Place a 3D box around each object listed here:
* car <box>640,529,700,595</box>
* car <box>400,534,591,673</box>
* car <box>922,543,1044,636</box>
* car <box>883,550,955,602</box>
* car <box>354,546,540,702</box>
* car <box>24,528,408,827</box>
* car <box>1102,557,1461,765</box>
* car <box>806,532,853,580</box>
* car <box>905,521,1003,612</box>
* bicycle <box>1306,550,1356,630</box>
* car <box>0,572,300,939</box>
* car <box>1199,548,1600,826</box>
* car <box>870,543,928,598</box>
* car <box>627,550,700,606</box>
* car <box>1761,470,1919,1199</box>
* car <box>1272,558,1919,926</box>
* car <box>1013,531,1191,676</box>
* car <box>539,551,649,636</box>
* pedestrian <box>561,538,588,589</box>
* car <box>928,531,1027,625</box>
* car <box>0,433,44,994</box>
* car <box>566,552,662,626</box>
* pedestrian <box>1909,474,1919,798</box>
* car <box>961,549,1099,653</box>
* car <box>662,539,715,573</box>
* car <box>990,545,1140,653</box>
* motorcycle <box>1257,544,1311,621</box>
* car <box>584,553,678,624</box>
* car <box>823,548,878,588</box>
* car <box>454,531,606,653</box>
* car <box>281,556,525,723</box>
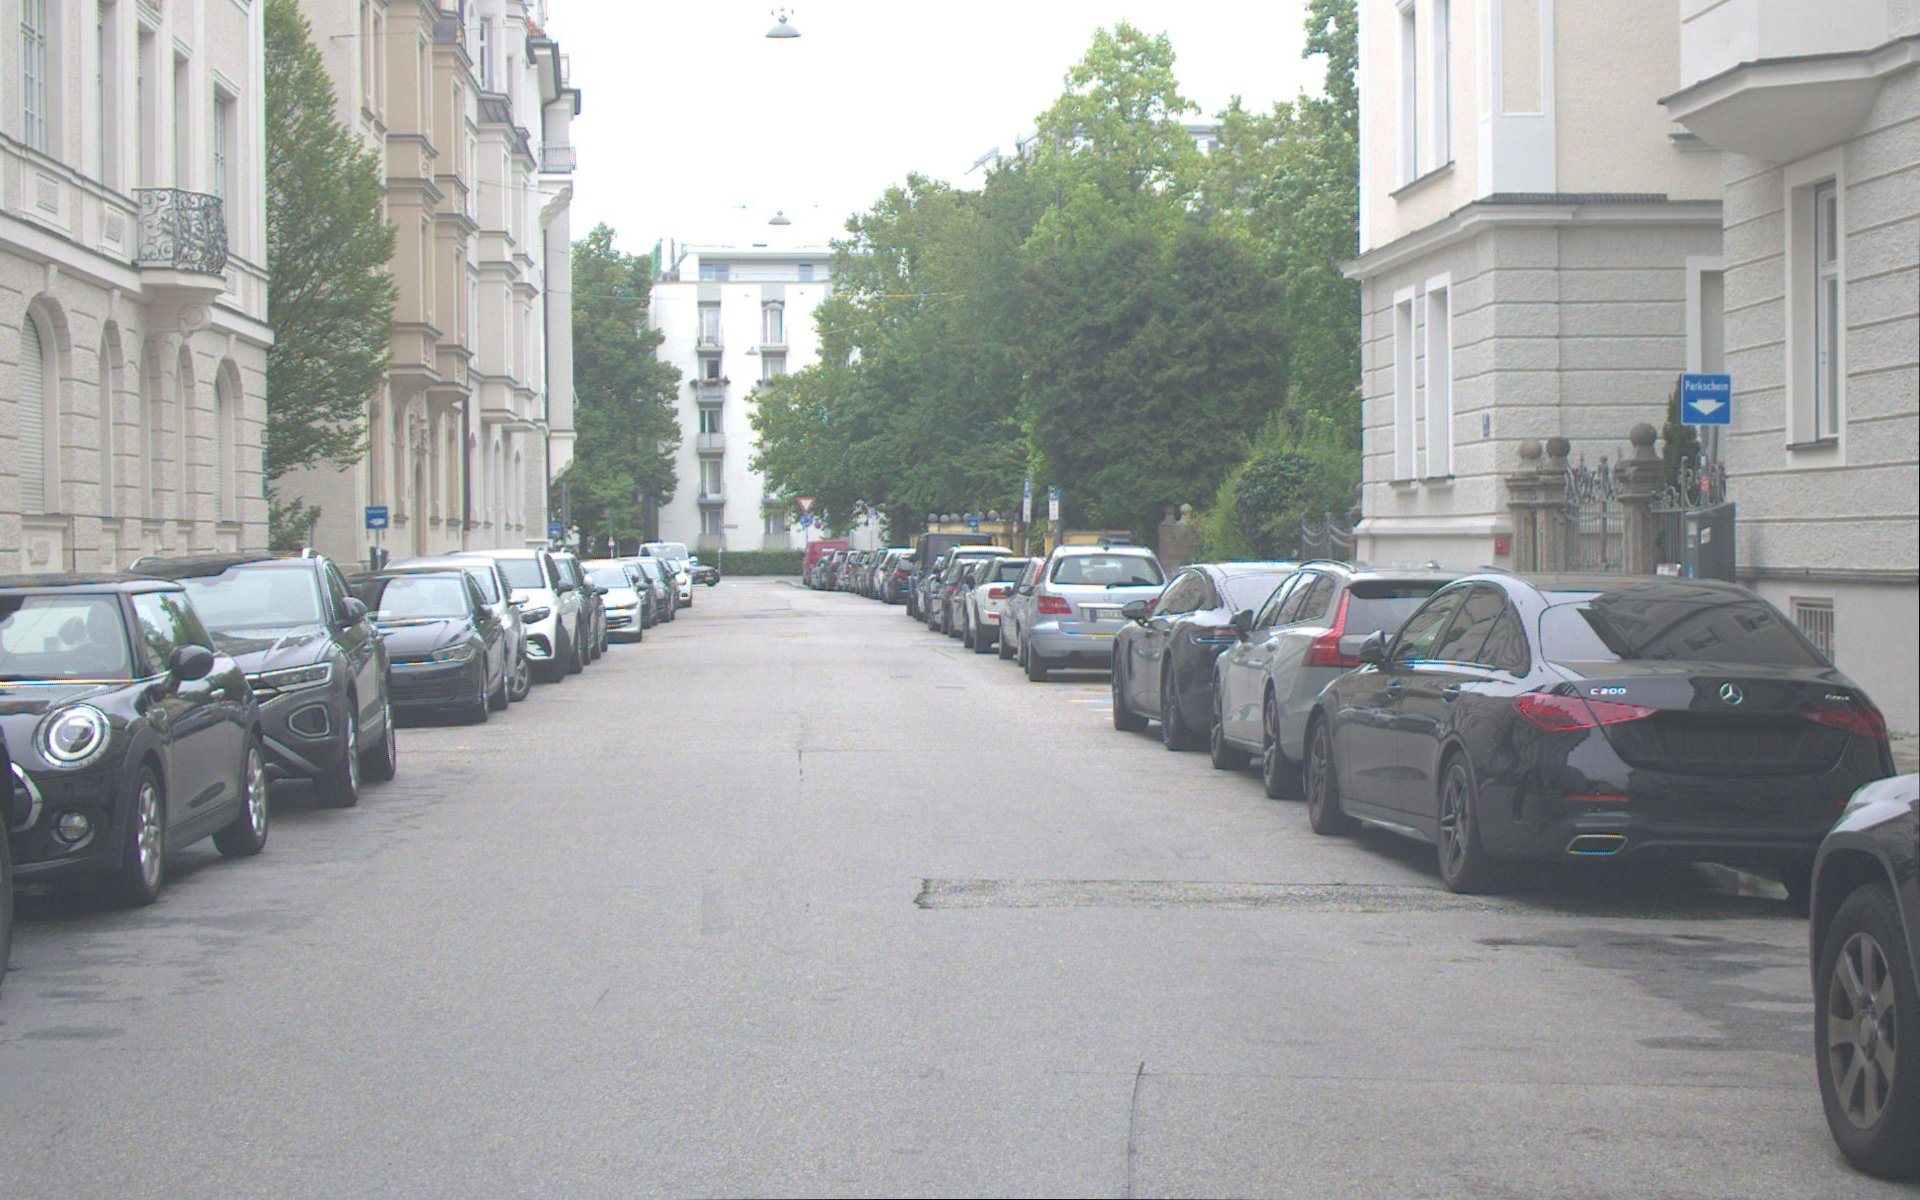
[{"bbox_3d":[-9.927,-1.318,117.568,1.886,2.120,4.707,-3,1,-5],"label":"car"},{"bbox_3d":[-5.709,-0.004,42.703,1.915,1.613,4.572,0,1,-2],"label":"car"},{"bbox_3d":[0.395,-0.224,64.339,1.750,1.605,4.425,1,1,-6],"label":"car"},{"bbox_3d":[-1.179,-0.676,96.880,1.838,1.408,4.343,1,0,-3],"label":"car"},{"bbox_3d":[-5.555,0.213,37.632,1.782,1.536,4.258,-2,1,-6],"label":"car"},{"bbox_3d":[-4.511,0.403,21.383,1.726,1.613,4.122,-2,1,-4],"label":"car"},{"bbox_3d":[2.407,0.405,26.984,1.993,1.452,4.713,-1,1,-5],"label":"car"},{"bbox_3d":[-5.558,-1.890,146.366,1.836,1.920,4.005,2,1,-1],"label":"car"},{"bbox_3d":[-0.177,-0.794,78.813,1.950,1.947,4.667,1,2,-3],"label":"car"},{"bbox_3d":[5.348,-0.153,49.629,0.434,1.122,1.882,0,1,-2],"label":"bicycle"},{"bbox_3d":[-4.339,0.632,15.860,1.836,1.389,4.245,-2,1,-2],"label":"car"},{"bbox_3d":[2.667,0.466,21.859,1.760,1.480,4.421,2,1,-2],"label":"car"},{"bbox_3d":[-1.905,-0.915,106.972,1.513,1.656,3.675,1,0,-5],"label":"car"},{"bbox_3d":[-8.523,-0.652,99.106,1.836,1.433,4.275,-3,1,-2],"label":"car"},{"bbox_3d":[3.093,0.593,6.717,1.800,1.669,4.190,2,1,-3],"label":"car"},{"bbox_3d":[2.915,0.556,16.480,1.836,1.394,4.975,1,1,-6],"label":"car"},{"bbox_3d":[1.645,-0.002,41.154,1.822,1.564,4.401,2,1,-1],"label":"car"},{"bbox_3d":[-6.725,-0.150,63.489,1.836,1.429,4.245,-2,1,-4],"label":"car"},{"bbox_3d":[-12.888,-1.235,114.904,0.792,1.673,0.700,-2,1,-11],"label":"pedestrian"},{"bbox_3d":[0.324,-0.442,69.146,1.722,1.763,4.413,2,0,-2],"label":"car"},{"bbox_3d":[-4.077,0.449,9.763,1.836,1.888,4.764,-2,1,-3],"label":"car"},{"bbox_3d":[-7.312,-0.253,72.970,1.833,1.429,4.554,-2,1,-4],"label":"car"},{"bbox_3d":[4.882,0.313,15.477,0.883,1.805,1.111,-2,1,2],"label":"pedestrian"},{"bbox_3d":[1.023,-0.014,52.030,1.784,1.499,4.065,1,1,-3],"label":"car"},{"bbox_3d":[-12.073,-1.948,152.711,1.874,1.423,4.410,-2,1,-10],"label":"car"},{"bbox_3d":[1.395,-0.035,46.931,1.754,1.401,3.452,1,1,-3],"label":"car"},{"bbox_3d":[4.858,-0.275,51.627,0.607,1.108,1.964,-2,1,0],"label":"motorcycle"},{"bbox_3d":[-7.481,-0.287,78.401,1.836,1.431,4.245,-3,1,-2],"label":"car"},{"bbox_3d":[-4.338,-1.263,135.599,1.838,1.513,3.948,1,0,-7],"label":"car"},{"bbox_3d":[-5.983,-0.150,48.208,1.836,1.613,4.245,0,1,-3],"label":"car"},{"bbox_3d":[-5.263,0.327,32.945,1.792,1.410,4.279,-3,1,-3],"label":"car"}]
